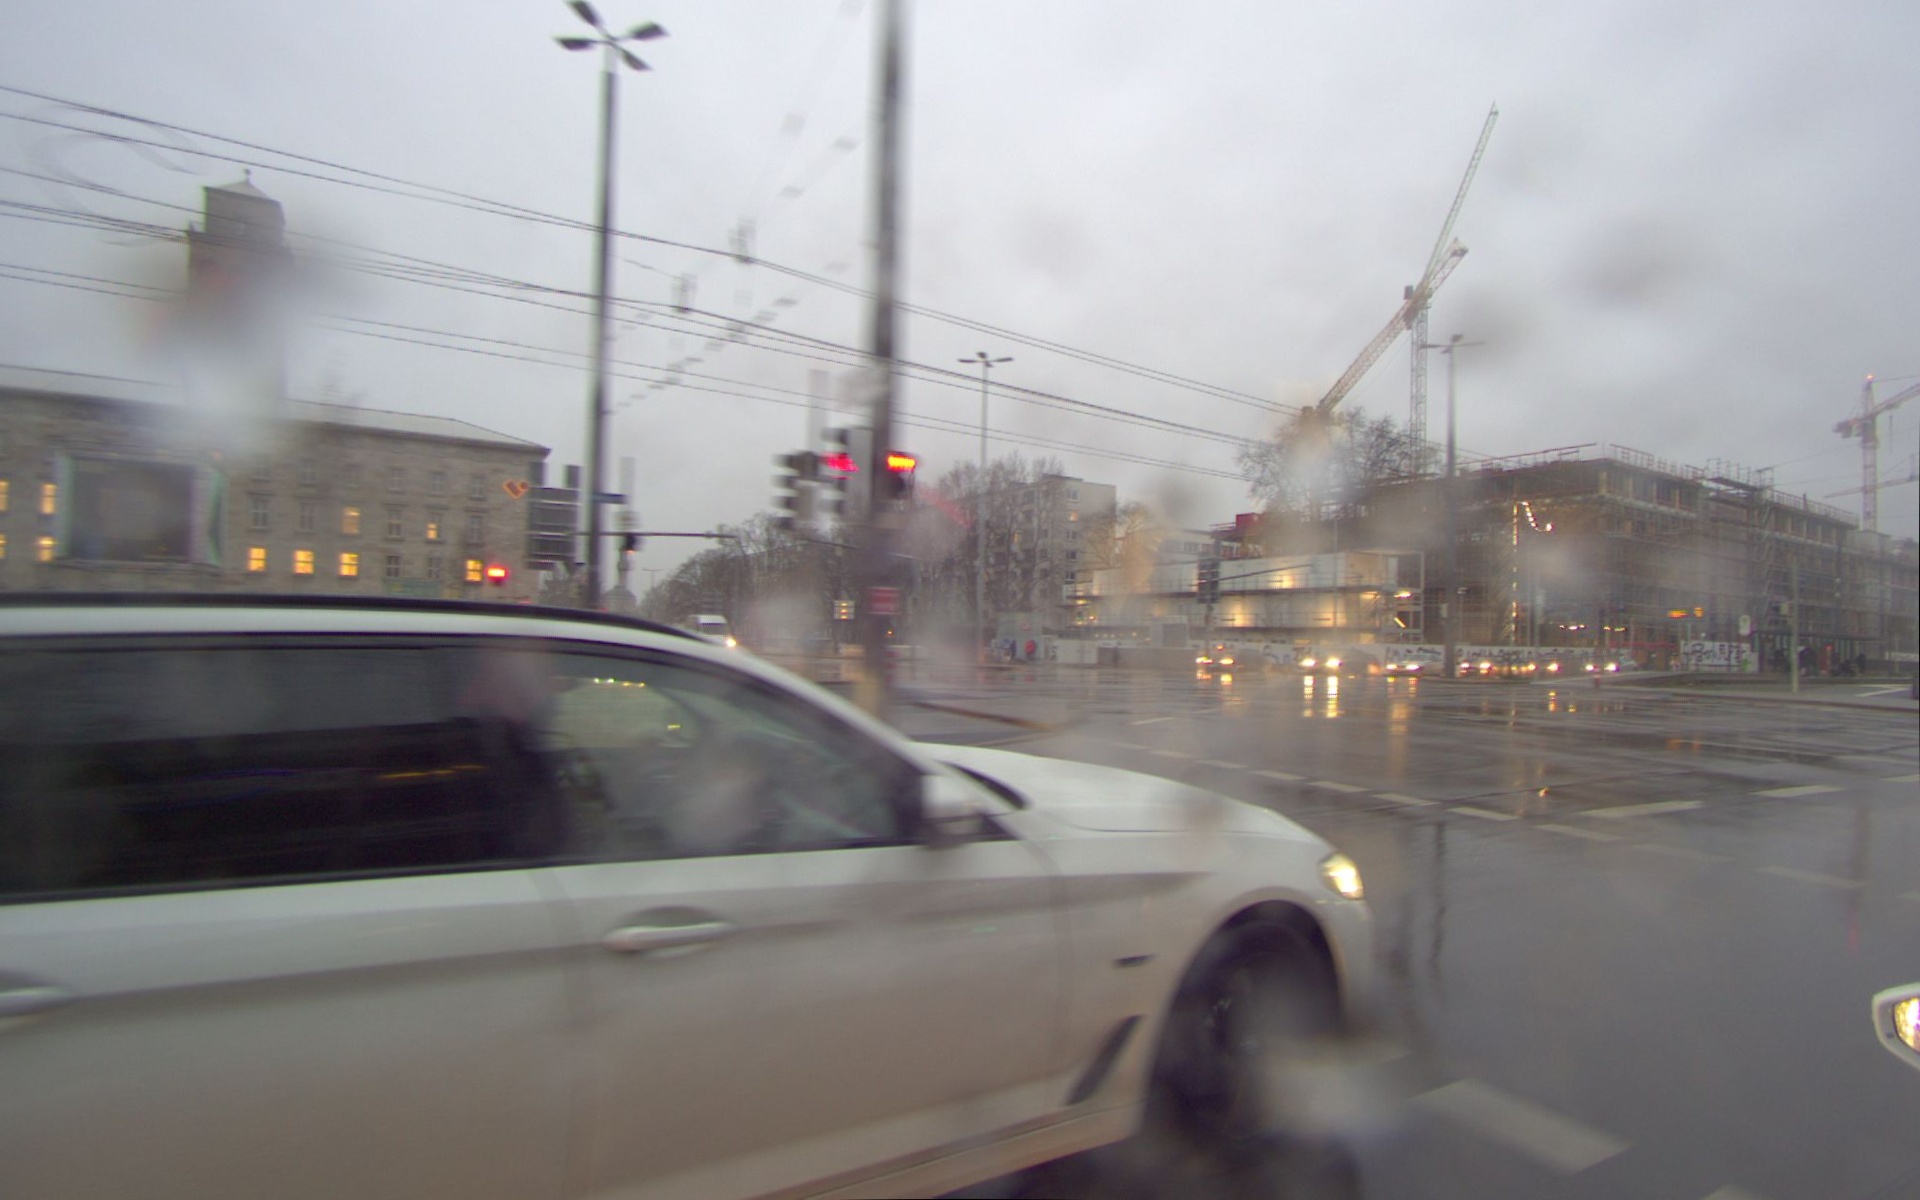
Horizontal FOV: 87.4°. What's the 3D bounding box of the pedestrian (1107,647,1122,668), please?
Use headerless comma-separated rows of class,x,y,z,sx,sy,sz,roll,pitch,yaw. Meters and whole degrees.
pedestrian,10.646,3.942,69.270,0.716,1.406,0.725,3,-3,-29

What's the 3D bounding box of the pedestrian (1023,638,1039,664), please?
pedestrian,5.500,3.964,77.850,0.810,1.959,0.915,3,-1,-37

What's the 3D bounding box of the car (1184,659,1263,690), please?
car,14.373,4.065,54.840,3.955,1.550,1.983,3,-3,-31

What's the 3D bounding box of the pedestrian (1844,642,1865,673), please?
pedestrian,61.553,3.971,69.129,1.086,2.040,0.933,3,-1,-41

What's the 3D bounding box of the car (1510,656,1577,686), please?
car,38.913,4.751,66.955,3.948,1.814,1.987,3,-1,-26

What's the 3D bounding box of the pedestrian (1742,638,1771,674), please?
pedestrian,46.903,3.303,59.176,1.080,2.040,0.938,3,-1,-28

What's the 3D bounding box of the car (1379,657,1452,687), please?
car,26.003,4.091,57.307,4.579,1.550,2.058,4,-3,-41

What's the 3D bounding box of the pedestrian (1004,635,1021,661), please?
pedestrian,4.071,3.741,77.636,0.810,1.959,0.915,3,-1,-37

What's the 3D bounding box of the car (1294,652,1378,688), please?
car,19.183,3.566,51.184,3.955,1.678,1.983,3,-3,-31

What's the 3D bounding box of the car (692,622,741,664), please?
car,-15.021,2.611,61.857,2.032,2.454,4.733,2,-2,-25

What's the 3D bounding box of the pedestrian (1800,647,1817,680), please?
pedestrian,51.490,3.846,60.971,0.659,1.994,0.566,3,1,-36

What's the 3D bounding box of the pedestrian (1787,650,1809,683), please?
pedestrian,50.293,3.983,60.265,0.754,1.922,0.761,4,-1,-31

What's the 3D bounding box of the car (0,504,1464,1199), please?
car,-0.894,0.694,2.719,4.510,1.506,2.006,3,-3,-32

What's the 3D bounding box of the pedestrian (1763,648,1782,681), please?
pedestrian,48.141,3.800,59.545,0.547,1.905,0.695,3,-1,-31

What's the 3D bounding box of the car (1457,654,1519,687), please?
car,32.645,4.368,62.078,3.965,1.852,1.851,3,-1,-38
